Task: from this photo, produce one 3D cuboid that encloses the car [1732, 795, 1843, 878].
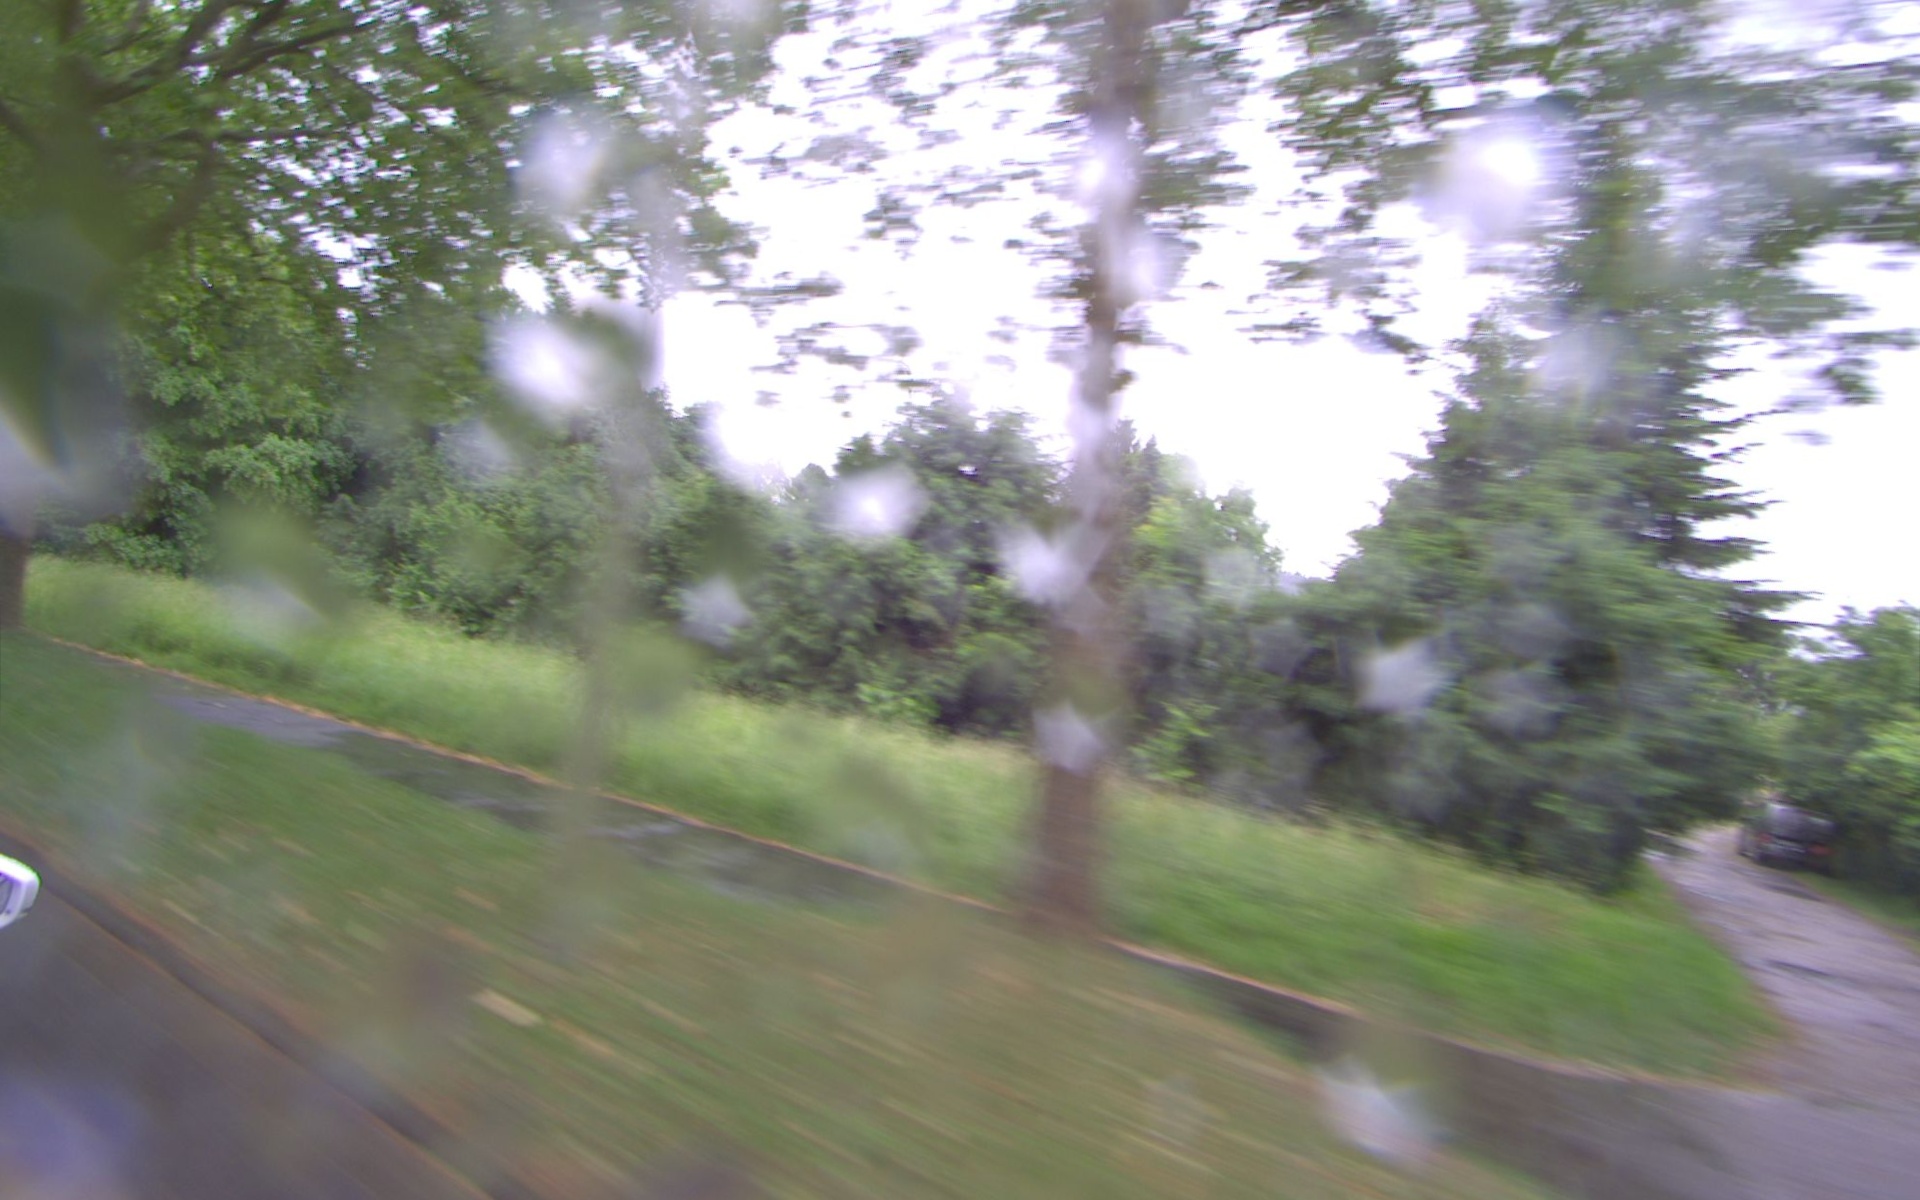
[{"bbox_3d":[24.291,6.878,29.664,1.770,1.705,3.997,6,-3,31],"label":"car"}]
